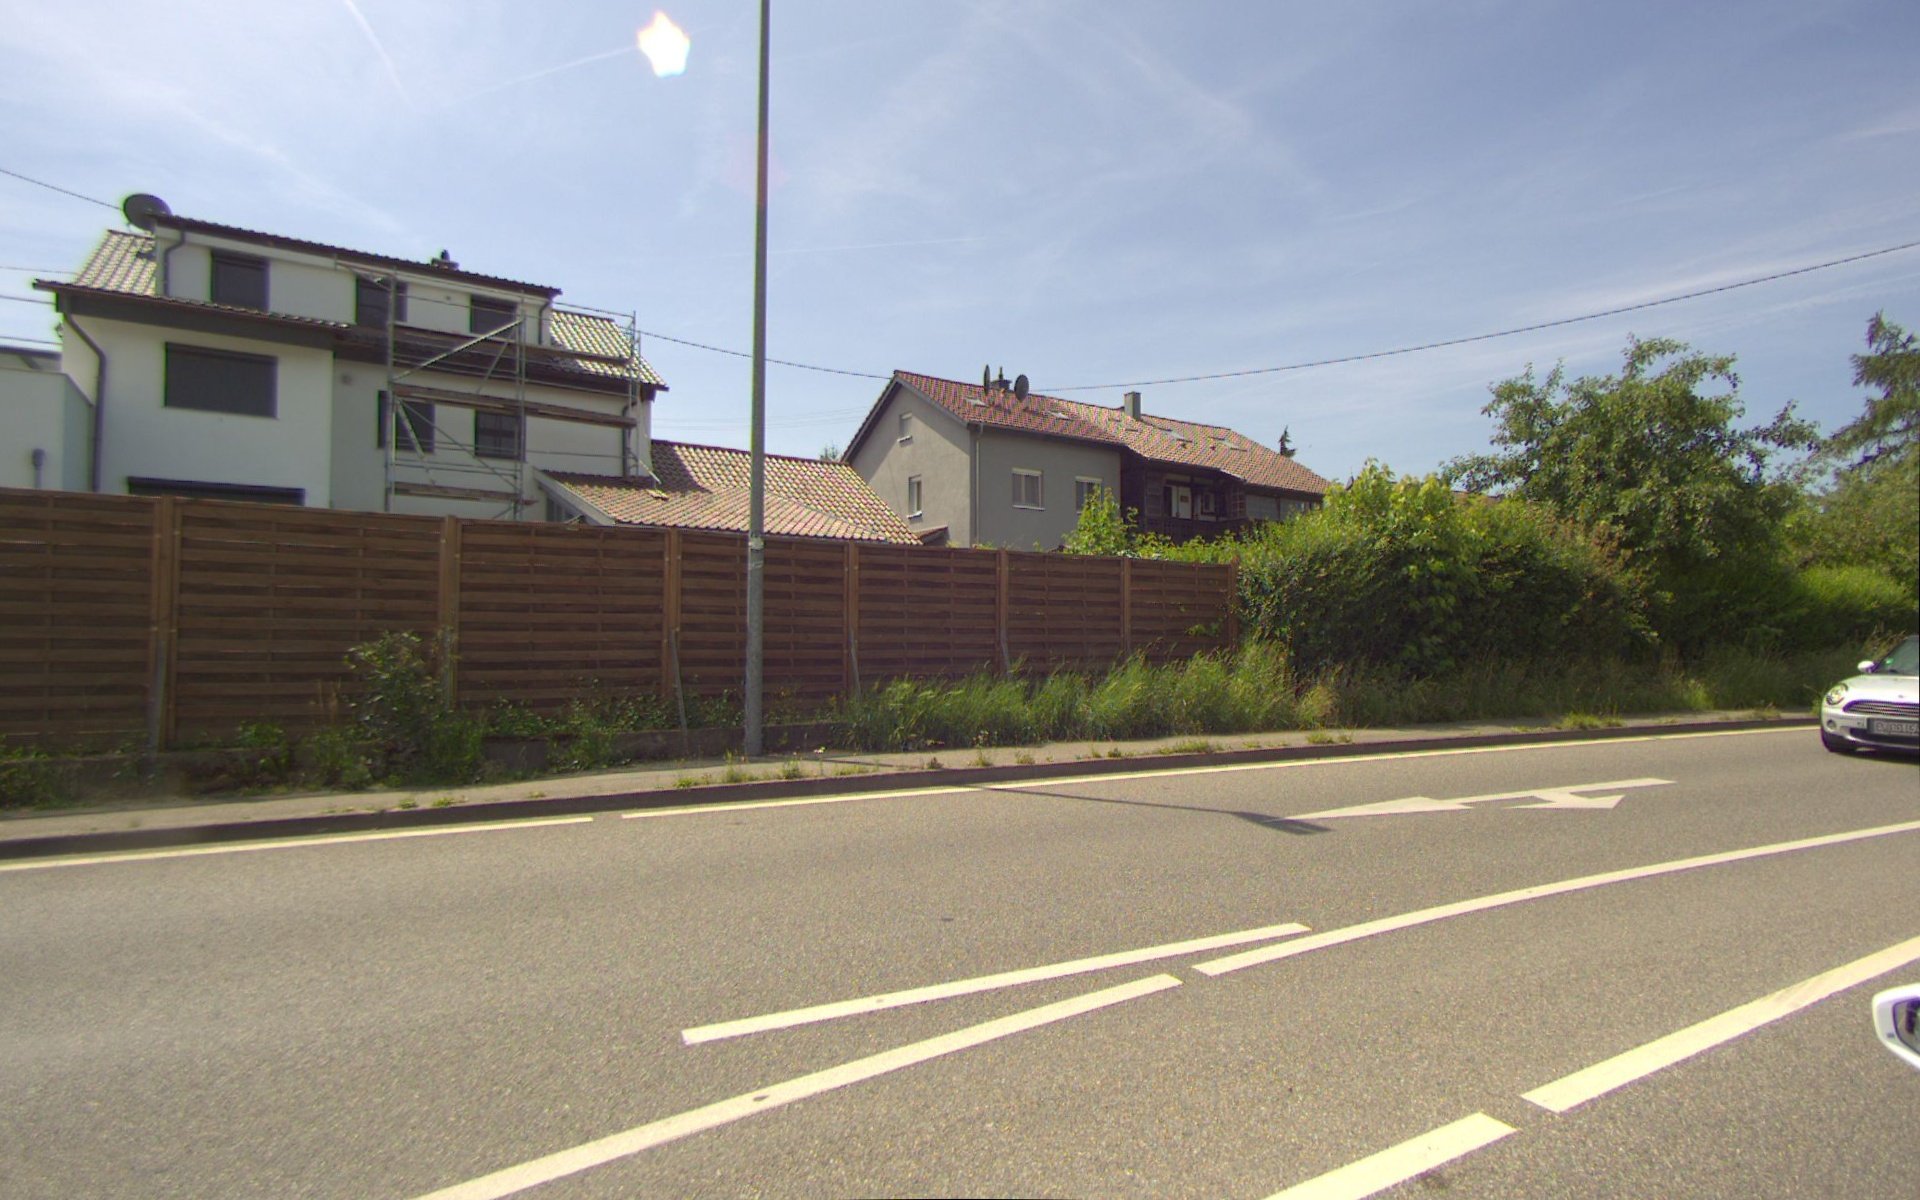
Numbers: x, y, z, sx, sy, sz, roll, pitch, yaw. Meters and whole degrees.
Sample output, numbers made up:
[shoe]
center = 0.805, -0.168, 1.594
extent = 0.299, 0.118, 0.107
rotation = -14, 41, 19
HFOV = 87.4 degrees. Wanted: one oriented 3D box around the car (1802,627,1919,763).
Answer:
[car]
center = 11.541, 1.030, 11.499
extent = 3.513, 1.400, 1.617
rotation = 1, 0, -26
